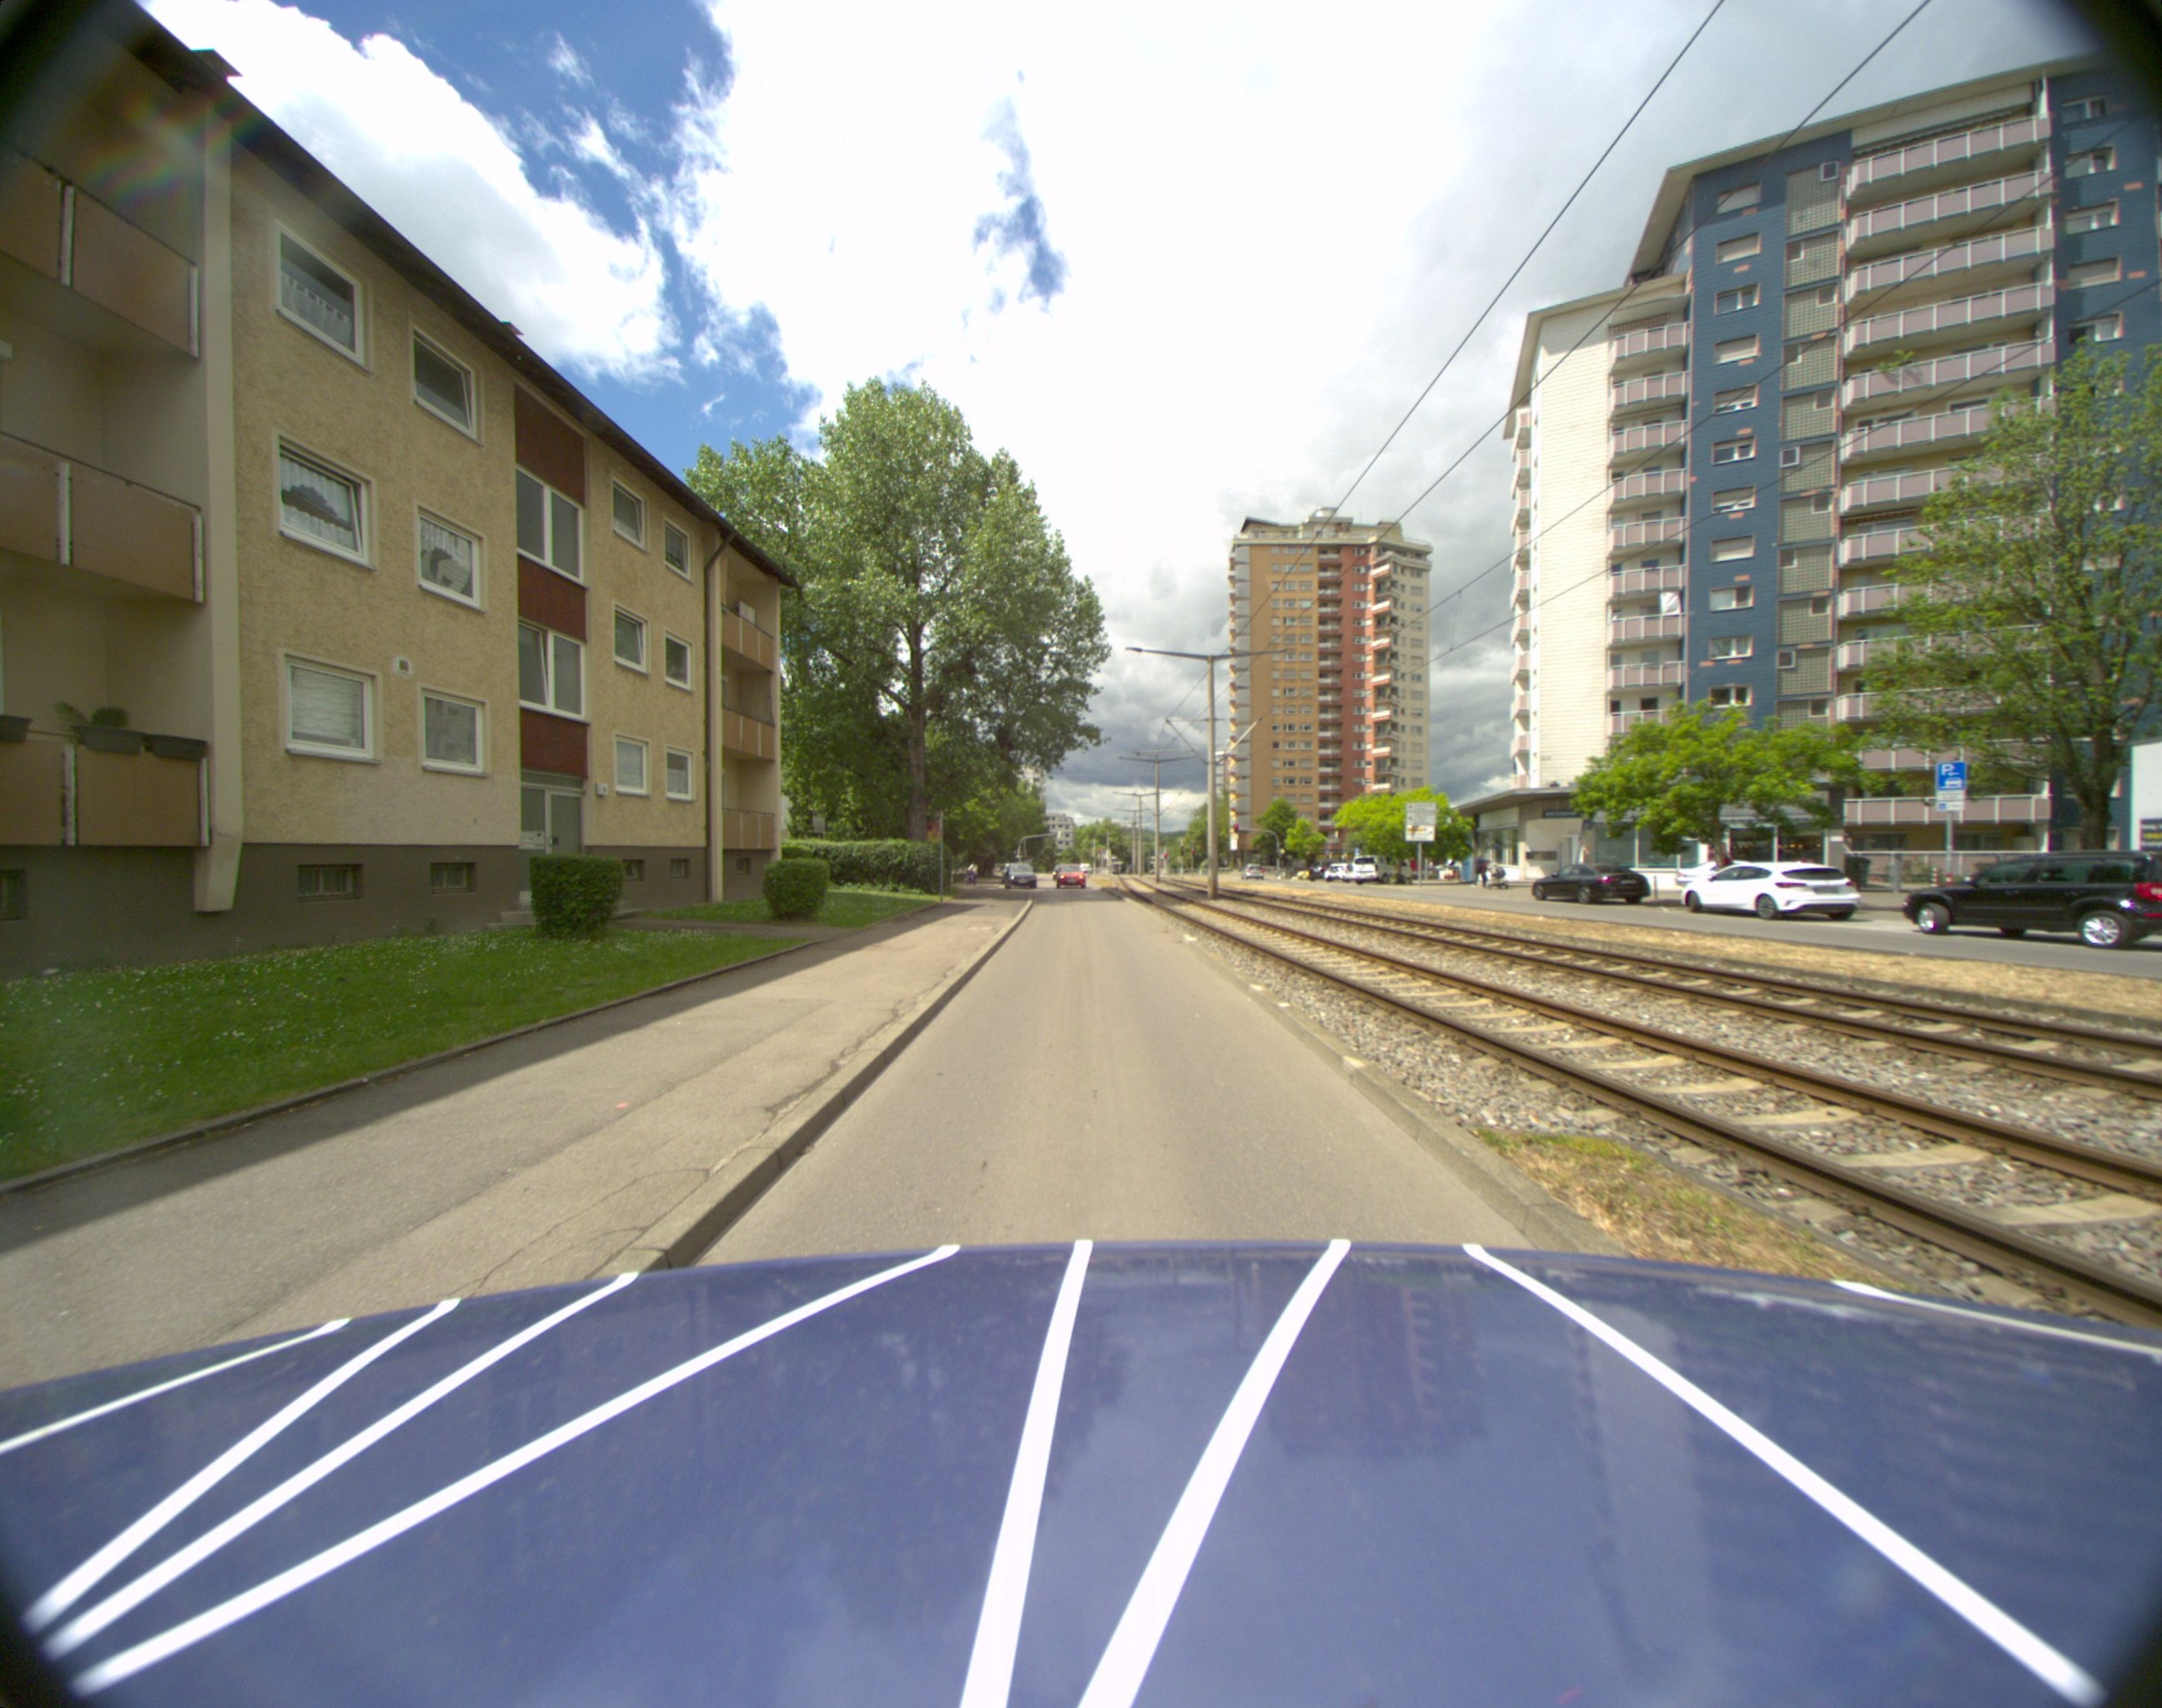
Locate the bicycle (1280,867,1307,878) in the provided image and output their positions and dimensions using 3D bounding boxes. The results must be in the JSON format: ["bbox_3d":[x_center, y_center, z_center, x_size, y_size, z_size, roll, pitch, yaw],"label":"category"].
[{"bbox_3d":[21.083,1.874,75.410,2.433,1.059,0.705,1,-1,2],"label":"bicycle"}]

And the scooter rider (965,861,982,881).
[{"bbox_3d":[-6.795,1.090,48.145,0.887,1.213,1.282,1,-1,-2],"label":"scooter rider"}]

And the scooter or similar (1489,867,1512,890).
[{"bbox_3d":[20.782,1.210,37.636,0.581,1.118,0.767,-2,0,-28],"label":"scooter or similar"}]

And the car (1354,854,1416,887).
[{"bbox_3d":[20.632,1.146,51.486,4.772,2.143,1.901,2,-1,-41],"label":"car"}]

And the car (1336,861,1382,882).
[{"bbox_3d":[21.948,1.388,59.928,4.009,1.622,1.901,2,-1,-45],"label":"car"}]

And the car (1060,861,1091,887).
[{"bbox_3d":[-0.376,1.172,45.698,1.819,1.483,3.999,0,0,-2],"label":"car"}]

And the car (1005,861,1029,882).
[{"bbox_3d":[-5.001,1.338,59.486,1.789,1.555,4.568,1,-1,-5],"label":"car"}]

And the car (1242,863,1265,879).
[{"bbox_3d":[17.506,1.718,77.218,1.822,1.523,3.756,1,-1,5],"label":"car"}]

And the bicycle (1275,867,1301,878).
[{"bbox_3d":[21.157,1.922,77.772,2.433,1.059,0.705,1,-1,2],"label":"bicycle"}]

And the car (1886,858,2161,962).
[{"bbox_3d":[18.117,0.923,14.064,1.999,1.652,4.100,-1,-1,-2],"label":"car"}]

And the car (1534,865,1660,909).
[{"bbox_3d":[18.473,1.132,27.479,1.738,1.419,4.382,-1,-1,3],"label":"car"}]

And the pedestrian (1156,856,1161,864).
[{"bbox_3d":[15.972,1.294,156.752,0.865,1.596,0.747,1,-1,2],"label":"pedestrian"}]

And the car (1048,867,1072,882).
[{"bbox_3d":[-1.882,1.816,68.009,1.998,1.280,4.001,1,-1,0],"label":"car"}]

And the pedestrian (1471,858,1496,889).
[{"bbox_3d":[20.356,0.985,38.414,0.516,1.562,0.983,-2,0,-28],"label":"pedestrian"}]

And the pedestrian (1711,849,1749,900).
[{"bbox_3d":[22.908,0.723,26.830,0.612,1.782,0.843,1,-1,0],"label":"pedestrian"}]

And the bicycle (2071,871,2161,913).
[{"bbox_3d":[30.990,1.114,22.477,1.968,1.205,0.671,0,-1,32],"label":"bicycle"}]

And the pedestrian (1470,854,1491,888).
[{"bbox_3d":[21.285,0.888,40.488,0.842,1.782,0.875,1,-1,15],"label":"pedestrian"}]

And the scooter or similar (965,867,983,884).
[{"bbox_3d":[-6.796,1.374,48.213,0.892,1.058,2.114,1,-2,-2],"label":"scooter or similar"}]

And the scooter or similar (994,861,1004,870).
[{"bbox_3d":[-11.740,1.658,108.787,1.212,1.227,0.478,1,-1,-26],"label":"scooter or similar"}]

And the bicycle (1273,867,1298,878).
[{"bbox_3d":[21.162,1.938,78.572,2.433,1.059,0.705,1,-1,2],"label":"bicycle"}]

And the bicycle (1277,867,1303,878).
[{"bbox_3d":[21.106,1.904,76.916,2.433,1.059,0.705,1,-1,2],"label":"bicycle"}]

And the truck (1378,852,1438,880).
[{"bbox_3d":[44.739,1.666,104.187,7.090,3.652,2.549,1,-1,8],"label":"truck"}]

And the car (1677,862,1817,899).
[{"bbox_3d":[28.407,1.114,32.628,4.343,1.434,2.005,0,-1,36],"label":"car"}]

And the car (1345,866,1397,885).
[{"bbox_3d":[21.557,1.603,56.355,4.009,1.375,1.901,2,-1,-41],"label":"car"}]

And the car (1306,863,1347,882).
[{"bbox_3d":[21.689,1.663,67.047,1.927,1.582,4.009,0,-1,44],"label":"car"}]

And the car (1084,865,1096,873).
[{"bbox_3d":[1.496,2.404,121.998,1.805,1.207,4.023,1,-1,2],"label":"car"}]

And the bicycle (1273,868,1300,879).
[{"bbox_3d":[20.014,1.853,74.046,2.433,1.028,0.717,-1,-1,2],"label":"bicycle"}]

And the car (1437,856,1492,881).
[{"bbox_3d":[52.030,1.957,103.085,6.295,3.279,2.002,1,-1,10],"label":"car"}]

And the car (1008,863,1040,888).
[{"bbox_3d":[-3.372,1.269,45.361,1.820,1.440,3.826,1,-1,-3],"label":"car"}]

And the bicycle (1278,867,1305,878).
[{"bbox_3d":[21.086,1.890,76.181,2.433,1.059,0.705,1,-1,2],"label":"bicycle"}]

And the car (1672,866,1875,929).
[{"bbox_3d":[18.334,1.083,20.446,1.757,1.466,4.403,1,-1,6],"label":"car"}]

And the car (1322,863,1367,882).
[{"bbox_3d":[21.682,1.515,62.469,3.775,1.487,1.742,2,-1,-39],"label":"car"}]
